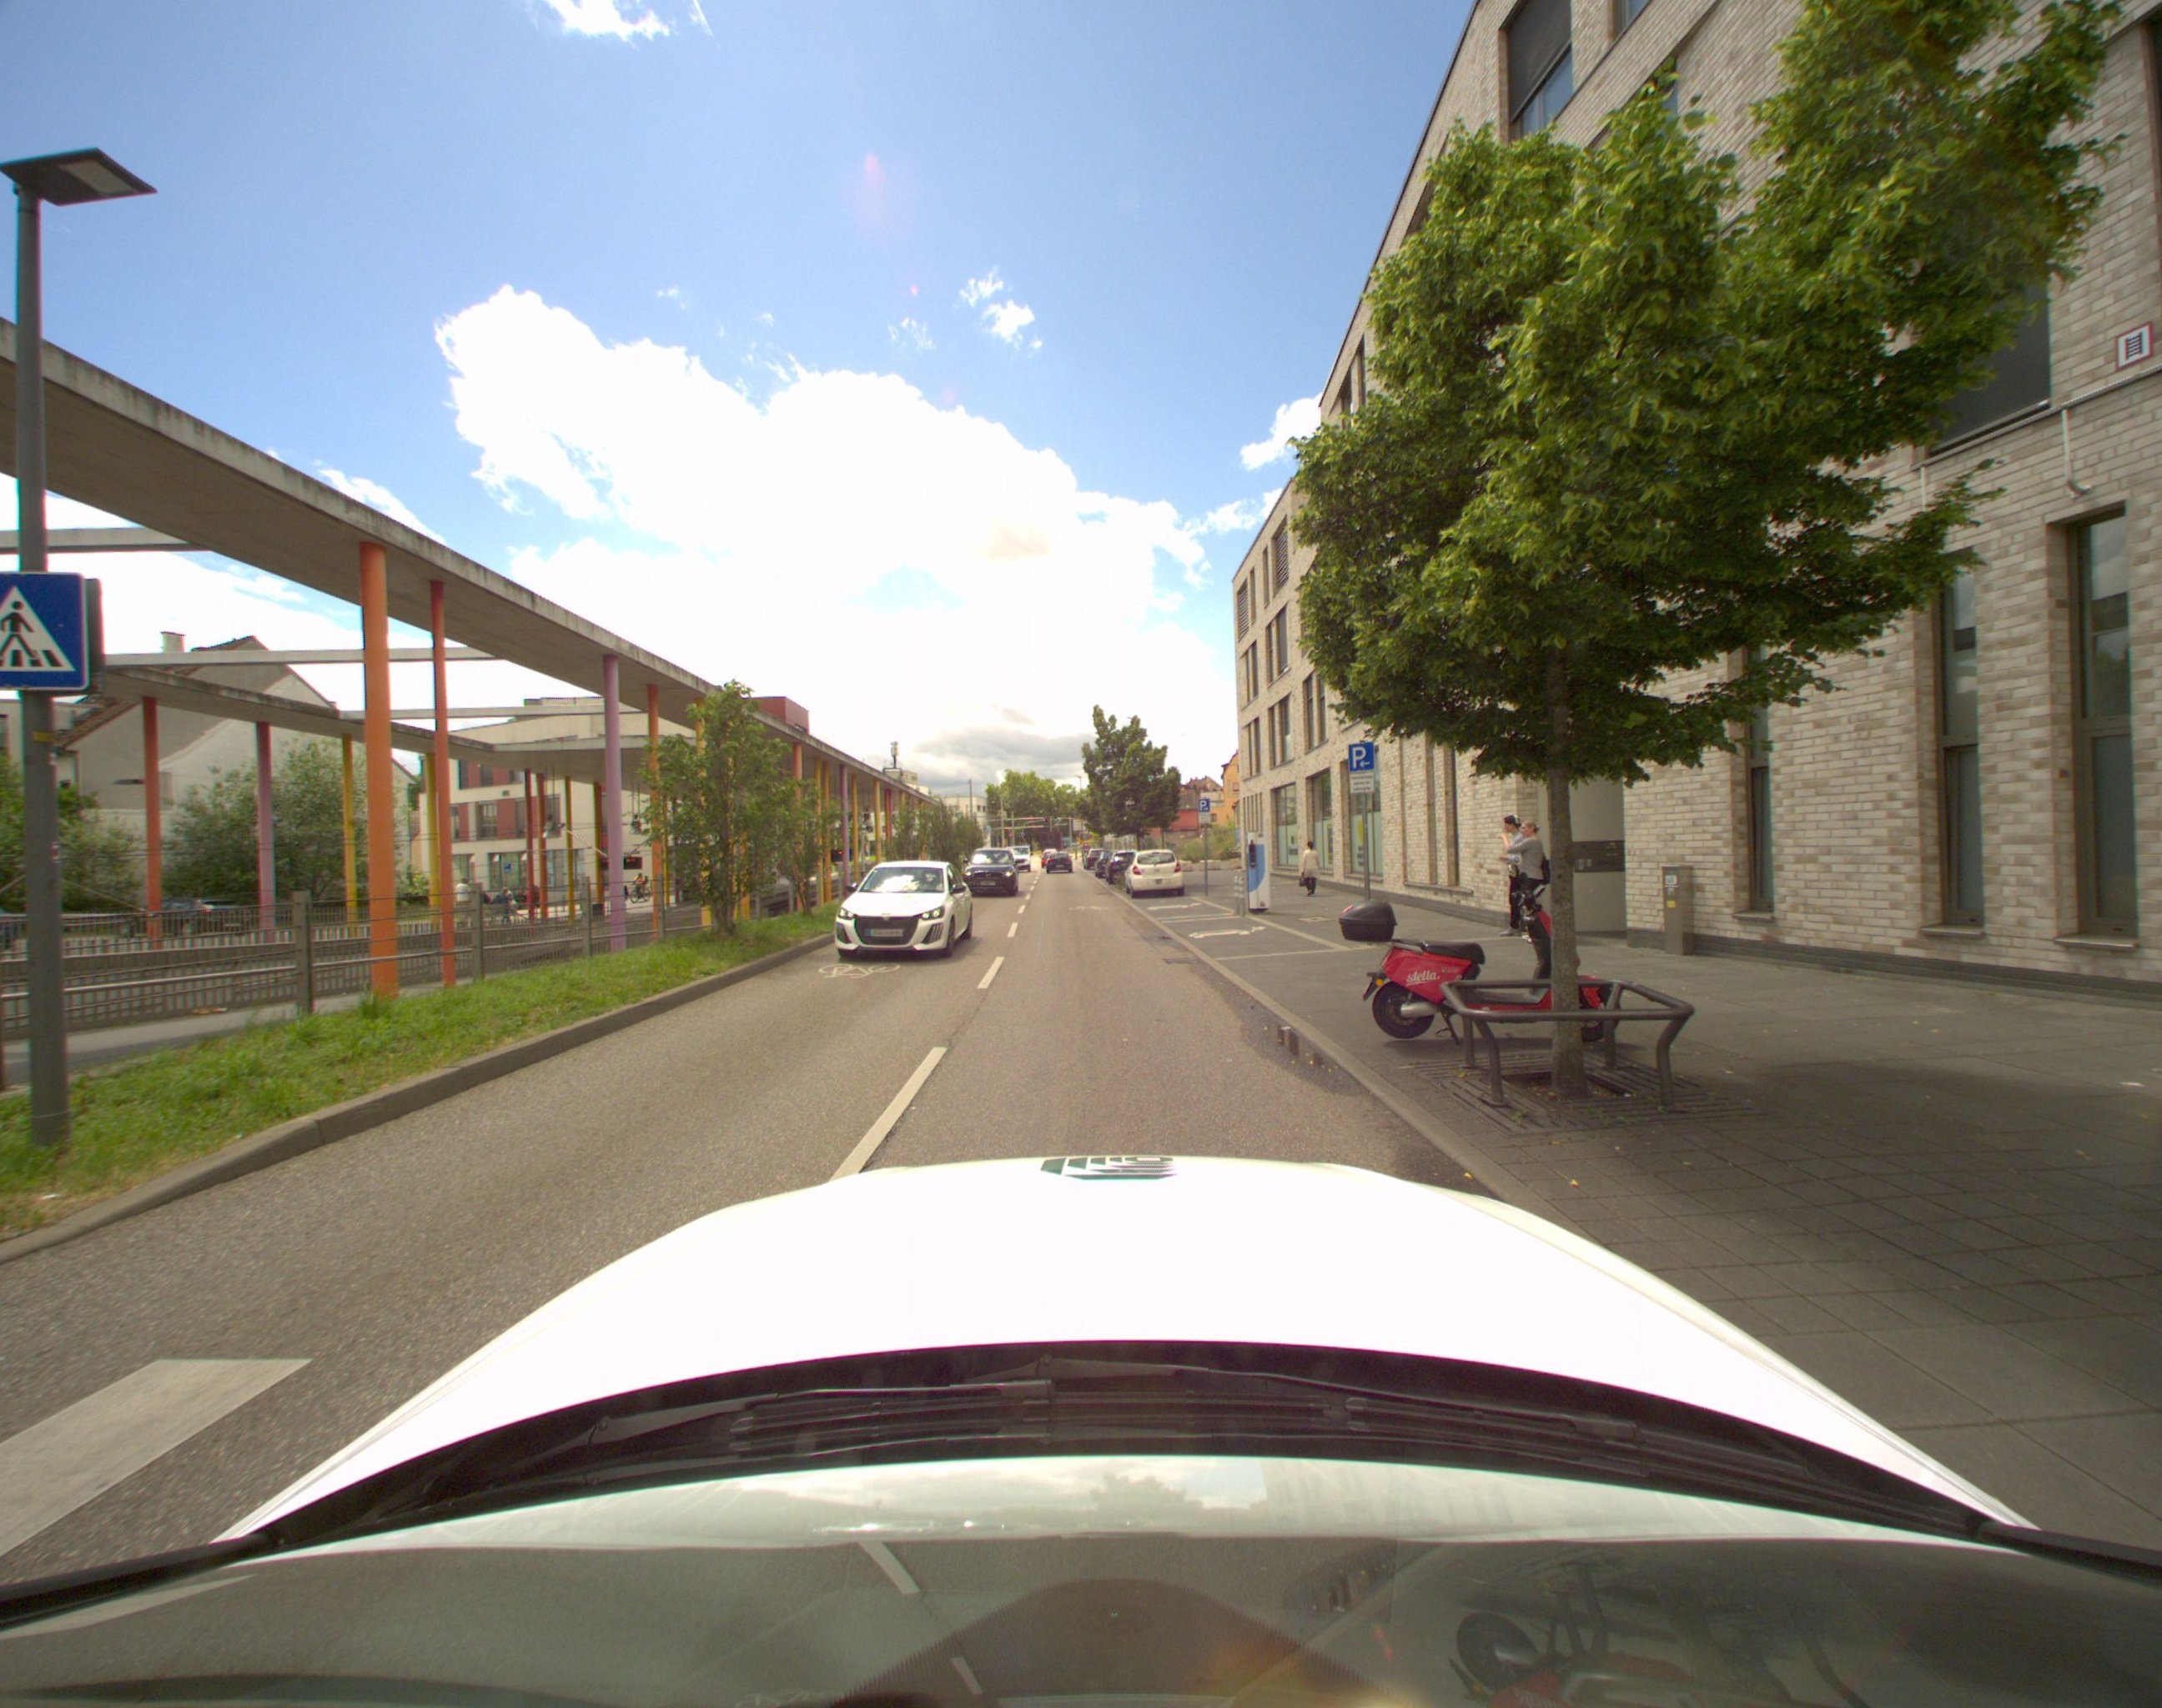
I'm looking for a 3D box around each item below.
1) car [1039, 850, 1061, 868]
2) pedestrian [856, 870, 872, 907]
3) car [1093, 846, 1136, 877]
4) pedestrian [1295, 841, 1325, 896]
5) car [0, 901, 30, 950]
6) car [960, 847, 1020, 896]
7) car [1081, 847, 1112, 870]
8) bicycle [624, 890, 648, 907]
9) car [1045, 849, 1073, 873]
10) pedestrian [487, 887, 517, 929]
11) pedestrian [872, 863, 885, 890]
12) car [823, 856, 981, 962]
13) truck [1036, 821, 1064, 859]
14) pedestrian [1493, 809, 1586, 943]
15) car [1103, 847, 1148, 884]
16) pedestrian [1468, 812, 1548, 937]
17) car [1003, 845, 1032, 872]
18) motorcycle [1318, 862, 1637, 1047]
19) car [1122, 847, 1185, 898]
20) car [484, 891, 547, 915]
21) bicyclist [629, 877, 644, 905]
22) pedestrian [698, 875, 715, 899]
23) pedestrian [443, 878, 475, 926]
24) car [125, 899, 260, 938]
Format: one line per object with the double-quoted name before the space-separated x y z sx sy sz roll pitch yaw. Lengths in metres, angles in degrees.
"car" -2.757 0.427 71.237 1.709 1.393 3.803 -3 1 -4
"pedestrian" -10.825 1.701 40.626 0.585 1.830 0.710 -1 -2 0
"car" 1.706 0.375 43.101 1.860 1.451 4.640 -3 0 -2
"pedestrian" 6.382 0.389 22.754 0.604 1.472 0.792 -3 0 6
"car" -33.417 2.109 23.912 3.959 1.401 1.575 -1 -2 13
"car" -3.202 0.585 29.542 1.915 1.605 4.620 -1 0 -4
"car" 1.080 0.280 57.644 1.778 1.451 4.470 -3 0 -3
"bicycle" -25.987 2.595 47.615 0.482 0.963 1.612 -1 -2 1
"car" -1.499 0.430 53.921 1.722 1.456 3.805 -3 1 -3
"pedestrian" -23.372 2.174 32.886 0.640 1.662 0.729 -1 -2 -2
"pedestrian" -12.175 1.350 49.001 0.627 1.614 0.636 -1 1 -1
"car" -2.797 0.791 13.581 1.806 1.469 3.906 -1 0 -1
"truck" -3.836 -1.657 104.072 3.193 4.536 9.025 -1 -1 0
"pedestrian" 6.358 0.299 11.324 0.734 1.766 0.754 -2 -1 -16
"car" 1.955 0.477 36.526 1.687 1.461 4.146 -3 0 0
"pedestrian" 6.294 0.303 12.023 0.735 1.766 0.622 -2 -1 -8
"car" -4.770 0.321 60.630 2.001 1.917 5.054 -1 0 -6
"motorcycle" 2.912 0.761 6.224 2.035 1.266 0.675 -4 -1 16
"car" 2.349 0.566 27.194 1.687 1.483 3.797 -3 0 0
"car" -38.093 3.301 54.840 3.674 1.325 1.656 -5 -3 21
"bicyclist" -26.003 2.149 47.684 0.482 1.593 0.681 -1 -2 1
"pedestrian" -21.693 1.911 47.228 0.649 1.379 0.702 -1 1 -1
"pedestrian" -24.754 1.906 32.440 0.640 1.883 0.799 -1 -2 -2
"car" -32.896 2.380 30.183 3.959 1.337 1.575 -1 -2 13
